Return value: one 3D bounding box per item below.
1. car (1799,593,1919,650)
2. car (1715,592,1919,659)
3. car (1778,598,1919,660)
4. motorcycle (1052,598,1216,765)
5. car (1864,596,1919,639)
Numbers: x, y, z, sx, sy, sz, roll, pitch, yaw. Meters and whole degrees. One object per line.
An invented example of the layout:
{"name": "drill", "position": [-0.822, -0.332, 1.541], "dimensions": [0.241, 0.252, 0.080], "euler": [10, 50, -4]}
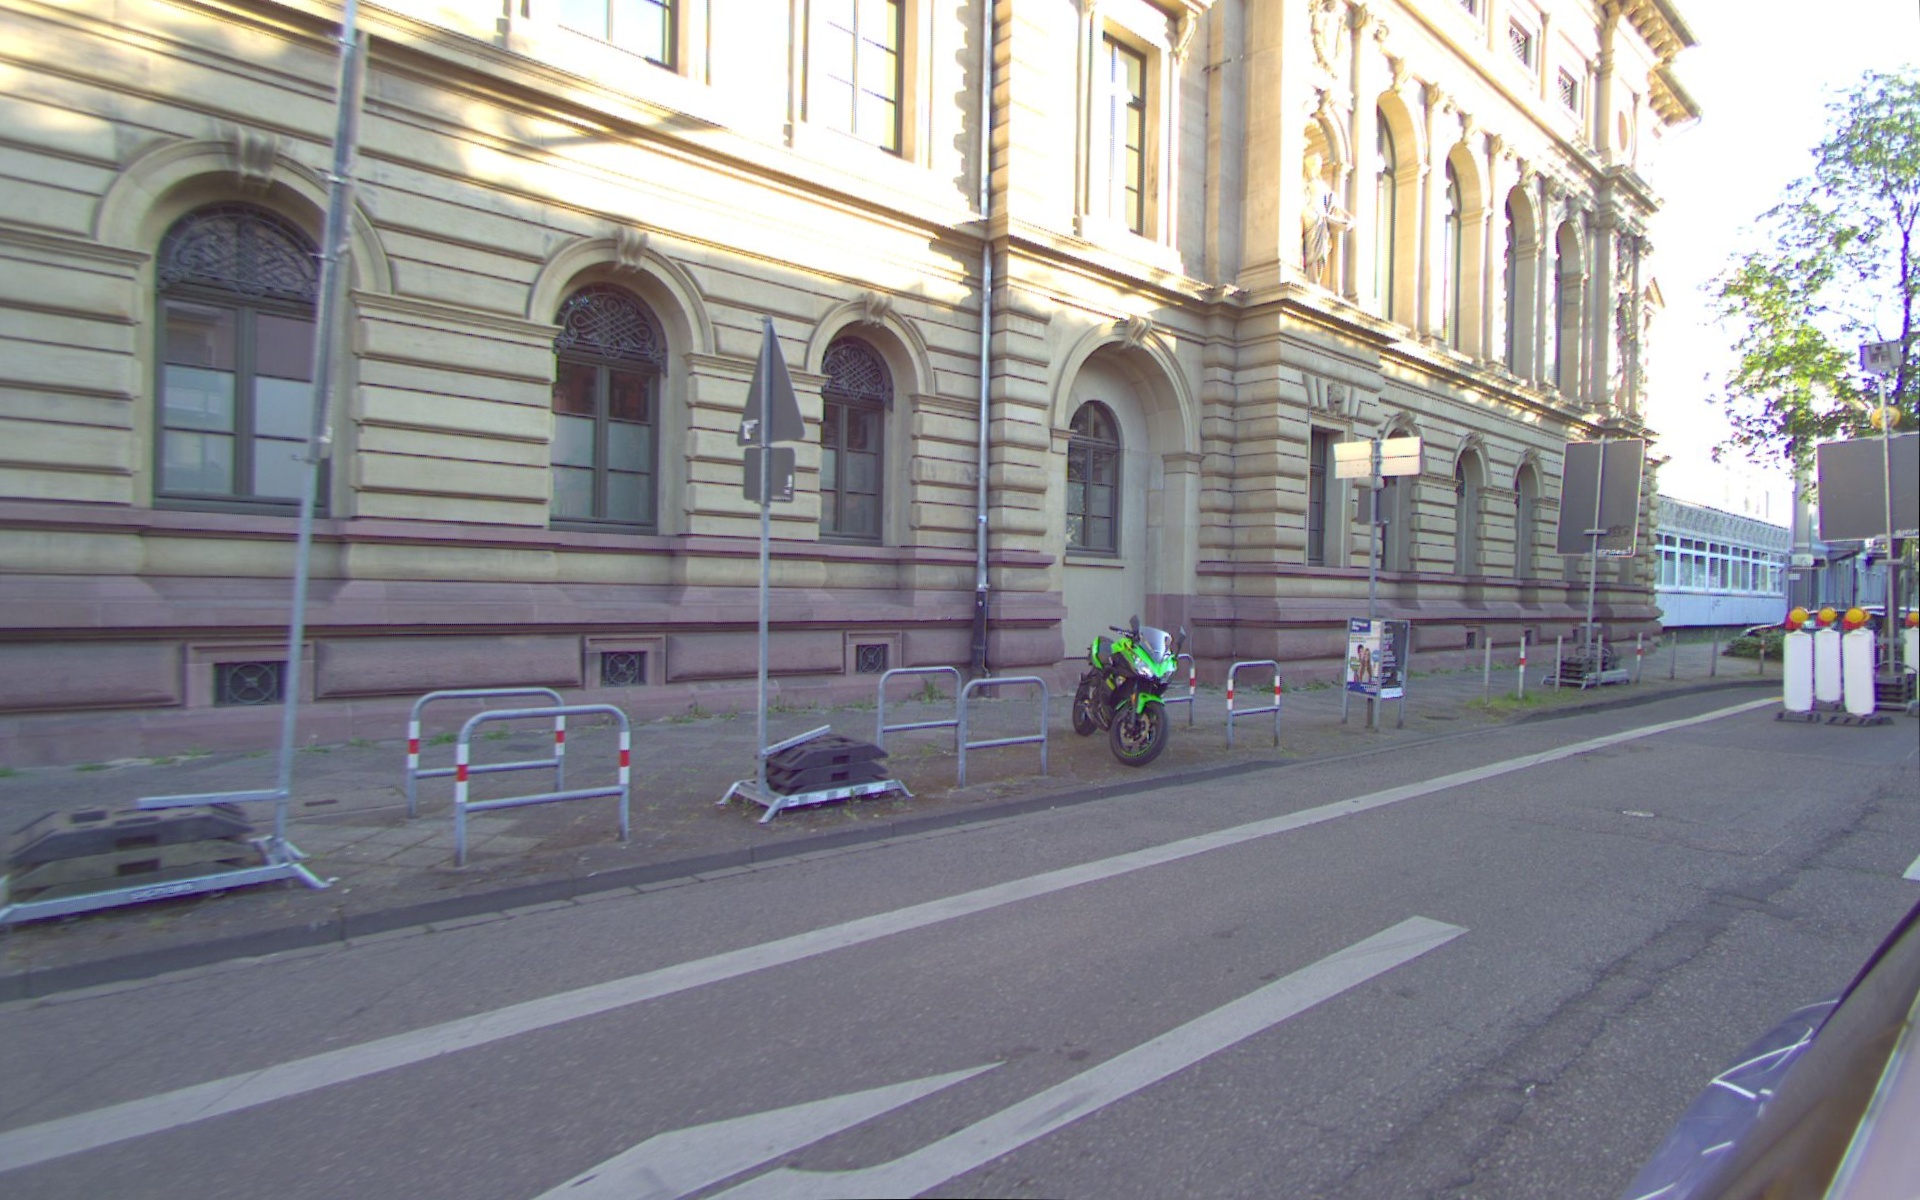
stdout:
{"name": "car", "position": [31.204, 0.719, 33.992], "dimensions": [2.020, 1.662, 4.364], "euler": [0, 3, -43]}
{"name": "car", "position": [24.144, 0.656, 28.502], "dimensions": [1.804, 1.482, 4.362], "euler": [0, 4, -44]}
{"name": "car", "position": [26.759, 0.846, 29.409], "dimensions": [1.643, 1.513, 4.367], "euler": [0, 4, -41]}
{"name": "motorcycle", "position": [1.493, 0.658, 9.153], "dimensions": [0.695, 1.230, 2.109], "euler": [2, 3, -11]}
{"name": "car", "position": [39.502, 0.766, 40.802], "dimensions": [1.704, 1.644, 4.364], "euler": [0, 3, -43]}
